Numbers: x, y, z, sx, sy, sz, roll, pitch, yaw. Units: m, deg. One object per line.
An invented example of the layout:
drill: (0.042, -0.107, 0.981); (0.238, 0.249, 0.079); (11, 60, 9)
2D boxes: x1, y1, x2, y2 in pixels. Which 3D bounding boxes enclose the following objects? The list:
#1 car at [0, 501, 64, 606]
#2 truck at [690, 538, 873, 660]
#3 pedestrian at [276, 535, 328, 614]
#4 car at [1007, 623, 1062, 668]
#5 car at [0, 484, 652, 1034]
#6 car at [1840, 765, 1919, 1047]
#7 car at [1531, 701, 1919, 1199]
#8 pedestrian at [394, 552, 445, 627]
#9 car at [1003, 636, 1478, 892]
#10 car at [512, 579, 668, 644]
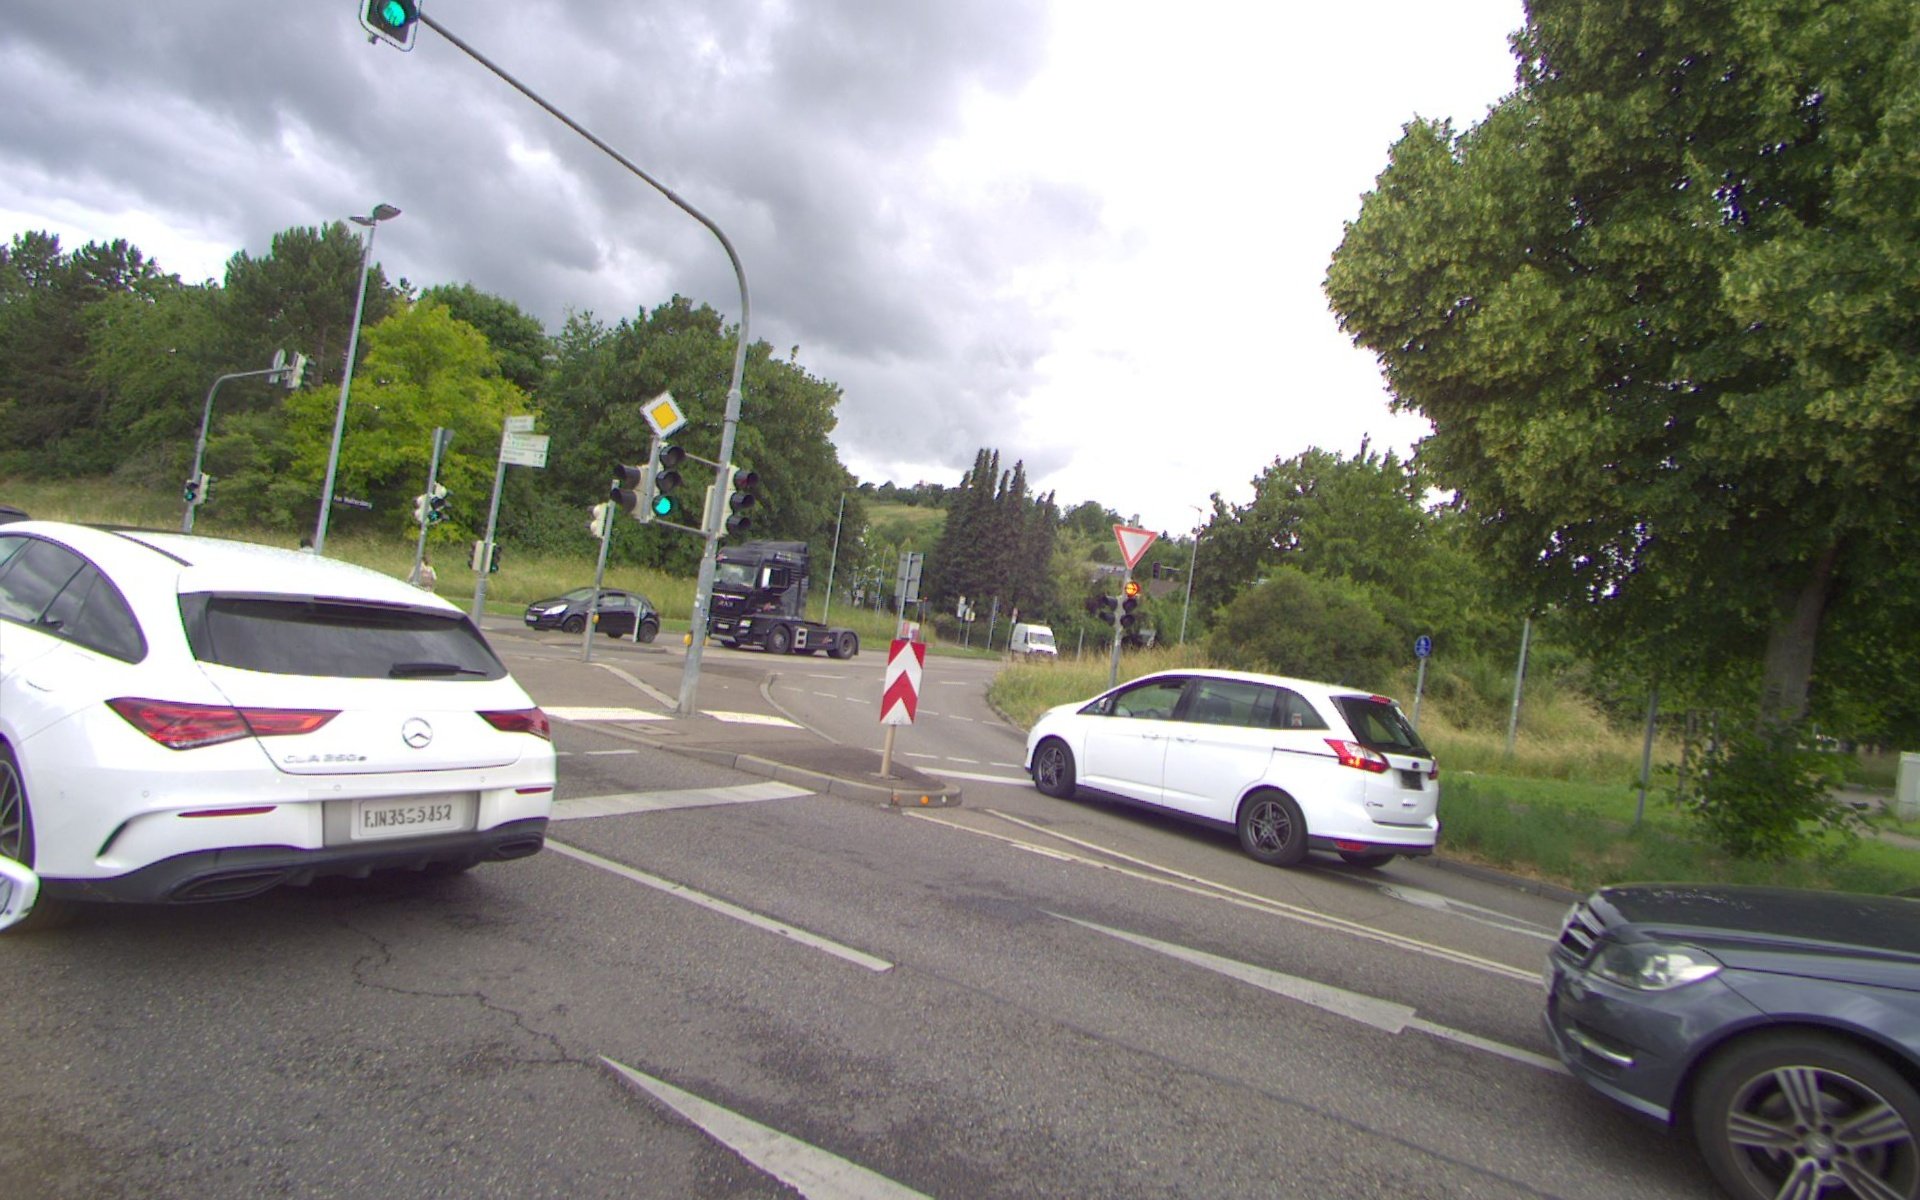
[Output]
car: (-15.722, -0.889, 15.586); (3.817, 1.470, 1.616); (6, -2, 32)
truck: (-6.132, 0.065, 35.467); (2.648, 3.527, 6.004); (6, -1, 34)
pedestrian: (-14.953, -0.582, 22.857); (0.703, 1.681, 0.644); (6, -1, 38)
car: (4.953, 3.006, 67.915); (1.967, 2.660, 5.816); (7, -2, -11)
car: (-3.792, 0.358, 4.812); (4.456, 1.523, 1.847); (6, -2, 32)
car: (7.179, 1.970, 5.367); (3.511, 1.524, 1.603); (6, -2, 38)
car: (4.308, 1.416, 3.067); (4.283, 1.502, 1.750); (8, -1, 32)
pedestrian: (-12.450, -0.239, 23.172); (0.703, 1.630, 0.644); (6, -1, 37)
car: (2.583, 1.490, 10.262); (1.752, 1.673, 4.325); (10, -3, -37)
car: (-10.562, 0.374, 28.967); (1.669, 1.353, 3.882); (6, -3, 34)
